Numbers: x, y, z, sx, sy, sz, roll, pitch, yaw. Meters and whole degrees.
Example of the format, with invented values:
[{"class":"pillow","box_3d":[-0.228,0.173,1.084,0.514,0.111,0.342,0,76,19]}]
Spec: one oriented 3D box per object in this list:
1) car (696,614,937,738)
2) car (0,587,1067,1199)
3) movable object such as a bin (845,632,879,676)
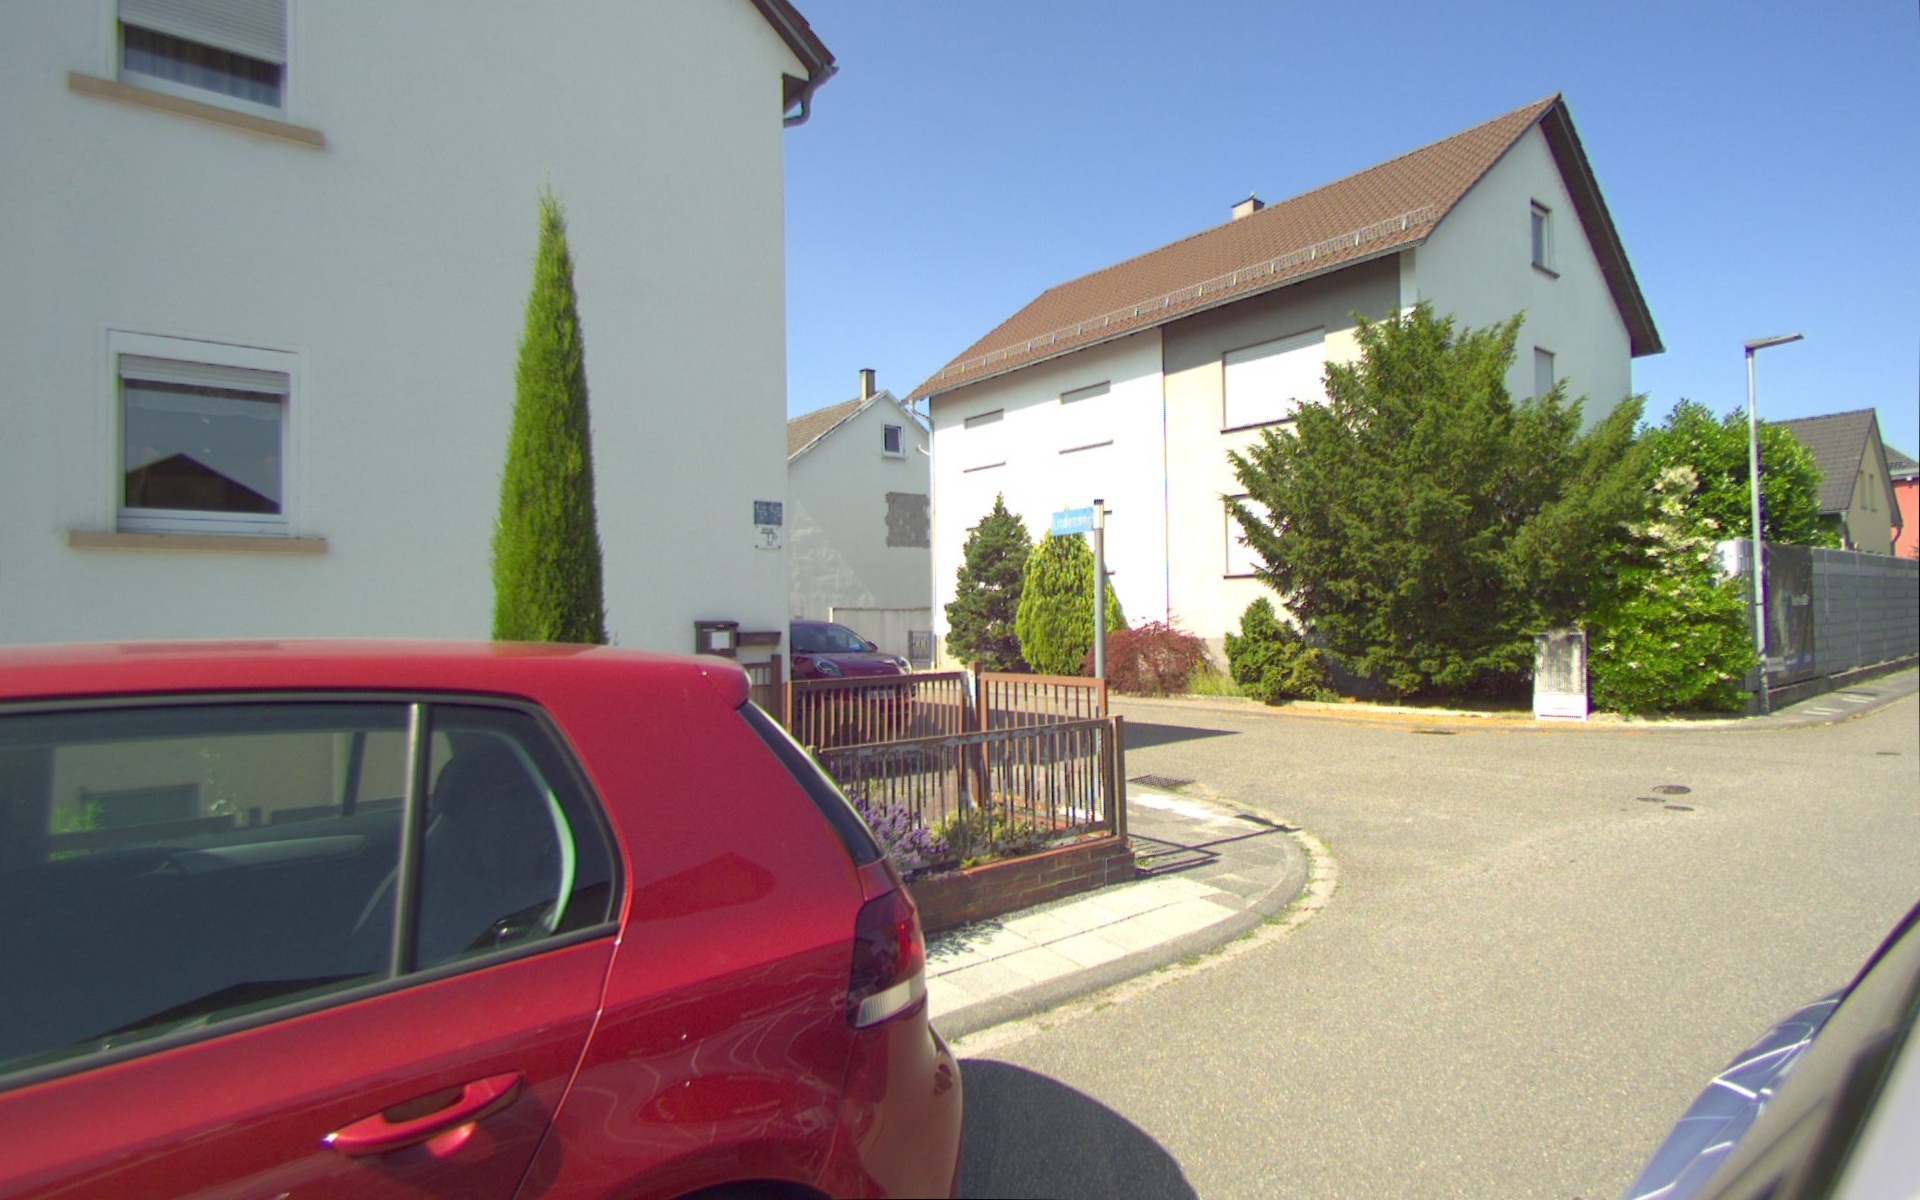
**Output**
[{"class":"car","box_3d":[-2.254,1.018,15.020,1.764,1.549,3.995,0,-1,-38]},{"class":"car","box_3d":[-1.926,0.782,1.410,3.924,1.498,1.780,-1,-2,-35]},{"class":"movable object such as a bin","box_3d":[-2.385,1.303,24.686,0.592,1.043,0.595,0,-2,-38]}]
